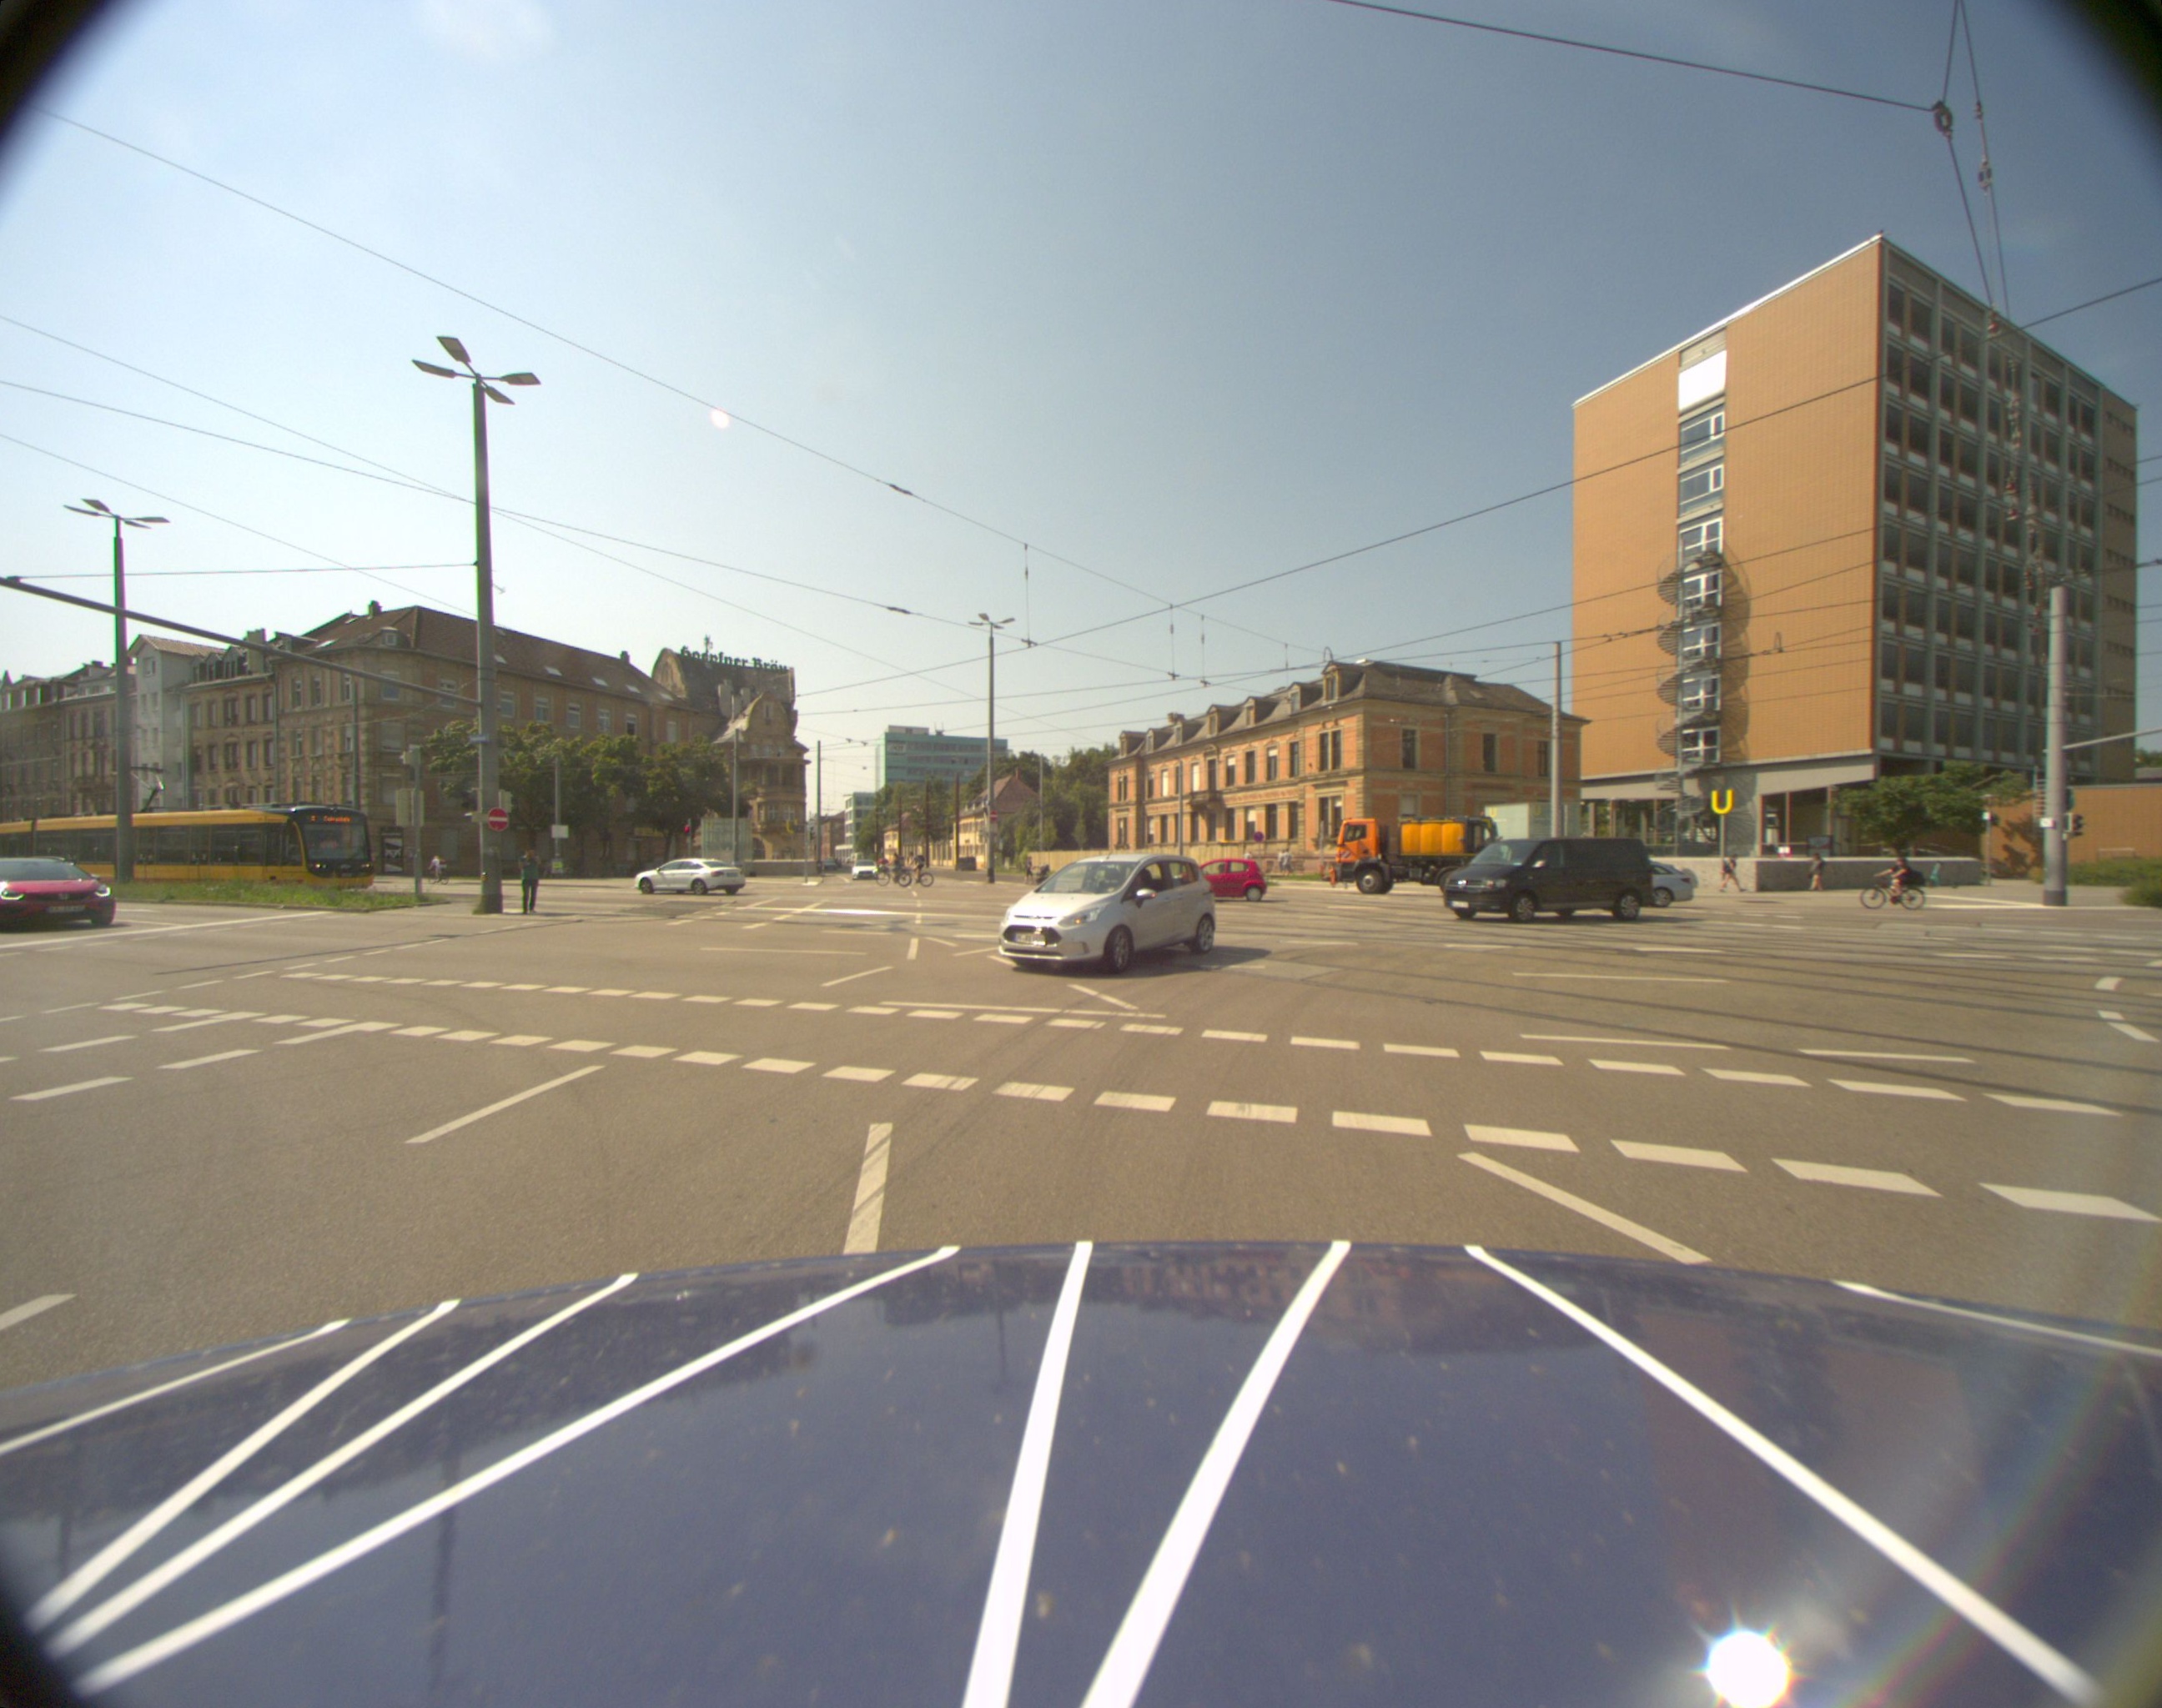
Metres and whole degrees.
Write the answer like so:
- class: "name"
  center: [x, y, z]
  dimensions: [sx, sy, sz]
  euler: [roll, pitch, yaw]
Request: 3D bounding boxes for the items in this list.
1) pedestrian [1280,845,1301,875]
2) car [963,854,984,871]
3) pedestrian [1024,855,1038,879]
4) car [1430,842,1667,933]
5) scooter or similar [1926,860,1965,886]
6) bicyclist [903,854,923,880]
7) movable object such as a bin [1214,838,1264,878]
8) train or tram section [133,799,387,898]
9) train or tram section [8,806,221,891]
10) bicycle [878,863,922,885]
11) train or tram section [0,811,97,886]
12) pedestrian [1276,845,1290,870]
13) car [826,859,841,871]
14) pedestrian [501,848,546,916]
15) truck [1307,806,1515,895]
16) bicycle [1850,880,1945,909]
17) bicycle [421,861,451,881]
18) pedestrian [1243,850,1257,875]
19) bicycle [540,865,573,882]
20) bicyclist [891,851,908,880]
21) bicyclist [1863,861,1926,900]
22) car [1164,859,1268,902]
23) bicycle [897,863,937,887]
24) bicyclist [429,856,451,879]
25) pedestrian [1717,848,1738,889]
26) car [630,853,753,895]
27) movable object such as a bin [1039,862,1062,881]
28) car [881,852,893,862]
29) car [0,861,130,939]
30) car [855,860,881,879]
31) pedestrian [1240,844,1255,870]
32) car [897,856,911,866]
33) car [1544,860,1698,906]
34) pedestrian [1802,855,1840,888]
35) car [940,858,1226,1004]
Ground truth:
- class: "pedestrian"
  center: [12.577, 0.361, 45.706]
  dimensions: [1.036, 1.802, 0.686]
  euler: [1, 1, 36]
- class: "car"
  center: [-13.295, 1.010, 93.505]
  dimensions: [2.001, 2.001, 3.995]
  euler: [0, -2, -17]
- class: "pedestrian"
  center: [-2.859, 0.746, 43.612]
  dimensions: [0.816, 1.343, 0.719]
  euler: [0, 0, -3]
- class: "car"
  center: [10.906, 0.694, 17.789]
  dimensions: [4.888, 1.920, 1.898]
  euler: [-1, 2, -16]
- class: "scooter or similar"
  center: [38.313, 0.847, 33.675]
  dimensions: [1.144, 1.150, 0.443]
  euler: [0, 1, 4]
- class: "bicyclist"
  center: [-7.994, 0.606, 36.176]
  dimensions: [0.864, 1.227, 1.101]
  euler: [0, 0, -11]
- class: "movable object such as a bin"
  center: [10.965, 0.261, 53.187]
  dimensions: [1.819, 2.656, 4.451]
  euler: [0, 0, -12]
- class: "train or tram section"
  center: [-32.994, -0.208, 30.365]
  dimensions: [12.188, 3.540, 2.600]
  euler: [0, 1, 21]
- class: "train or tram section"
  center: [-44.513, -0.246, 34.874]
  dimensions: [12.188, 3.540, 2.600]
  euler: [0, 1, 21]
- class: "bicycle"
  center: [-9.194, 1.032, 38.671]
  dimensions: [2.125, 1.105, 0.441]
  euler: [-1, 1, 7]
- class: "train or tram section"
  center: [-55.699, -0.274, 39.251]
  dimensions: [12.188, 3.540, 2.600]
  euler: [0, 1, 21]
- class: "pedestrian"
  center: [13.333, 0.215, 50.252]
  dimensions: [0.684, 1.662, 0.686]
  euler: [1, 1, 36]
- class: "car"
  center: [-31.566, 1.413, 96.884]
  dimensions: [1.377, 1.389, 3.250]
  euler: [0, -2, -25]
- class: "pedestrian"
  center: [-14.288, 0.717, 19.499]
  dimensions: [0.806, 1.677, 0.717]
  euler: [2, -1, -30]
- class: "truck"
  center: [13.130, -0.025, 30.515]
  dimensions: [7.171, 3.209, 3.049]
  euler: [-2, -2, 34]
- class: "bicycle"
  center: [26.846, 1.320, 25.012]
  dimensions: [2.166, 0.894, 0.642]
  euler: [0, 1, 12]
- class: "bicycle"
  center: [-35.914, 0.957, 42.311]
  dimensions: [1.639, 1.105, 0.442]
  euler: [0, 1, 17]
- class: "pedestrian"
  center: [11.086, 0.560, 49.761]
  dimensions: [0.684, 1.662, 0.686]
  euler: [1, 1, 36]
- class: "bicycle"
  center: [-32.287, 1.191, 46.785]
  dimensions: [0.461, 0.952, 1.790]
  euler: [0, 0, 16]
- class: "bicyclist"
  center: [-9.227, 0.562, 38.686]
  dimensions: [0.643, 1.472, 0.658]
  euler: [0, 1, 7]
- class: "bicyclist"
  center: [26.865, 0.863, 25.110]
  dimensions: [1.104, 1.258, 0.858]
  euler: [0, 1, 11]
- class: "car"
  center: [4.557, 0.874, 25.707]
  dimensions: [3.353, 1.400, 1.519]
  euler: [0, 0, 11]
- class: "bicycle"
  center: [-7.800, 0.983, 36.252]
  dimensions: [1.856, 1.105, 0.712]
  euler: [0, 1, -11]
- class: "bicyclist"
  center: [-35.582, 0.757, 42.168]
  dimensions: [0.643, 1.246, 0.659]
  euler: [0, 1, 12]
- class: "pedestrian"
  center: [27.449, 0.626, 32.275]
  dimensions: [0.456, 1.709, 0.561]
  euler: [-1, -1, 16]
- class: "car"
  center: [-15.840, 0.774, 30.898]
  dimensions: [4.592, 1.609, 1.774]
  euler: [0, 0, 20]
- class: "movable object such as a bin"
  center: [-1.755, 0.993, 43.448]
  dimensions: [1.035, 1.078, 0.822]
  euler: [-1, -1, 31]
- class: "car"
  center: [-39.347, 0.603, 154.165]
  dimensions: [2.002, 1.892, 3.994]
  euler: [0, -2, -19]
- class: "car"
  center: [-22.995, 0.937, 16.662]
  dimensions: [3.762, 1.464, 1.632]
  euler: [0, 2, 23]
- class: "car"
  center: [-15.250, 1.094, 54.550]
  dimensions: [1.588, 1.280, 3.724]
  euler: [0, 0, -12]
- class: "pedestrian"
  center: [10.904, 0.200, 49.759]
  dimensions: [0.684, 1.662, 0.686]
  euler: [1, 1, 36]
- class: "car"
  center: [-32.063, 1.242, 137.756]
  dimensions: [2.002, 1.673, 3.994]
  euler: [0, -2, -19]
- class: "car"
  center: [16.374, 0.859, 23.189]
  dimensions: [3.502, 1.331, 1.519]
  euler: [0, 0, 11]
- class: "pedestrian"
  center: [31.248, 0.740, 32.106]
  dimensions: [0.848, 1.386, 0.786]
  euler: [0, 1, -9]
- class: "car"
  center: [0.251, 0.874, 10.758]
  dimensions: [1.688, 1.585, 4.370]
  euler: [0, 1, 39]
